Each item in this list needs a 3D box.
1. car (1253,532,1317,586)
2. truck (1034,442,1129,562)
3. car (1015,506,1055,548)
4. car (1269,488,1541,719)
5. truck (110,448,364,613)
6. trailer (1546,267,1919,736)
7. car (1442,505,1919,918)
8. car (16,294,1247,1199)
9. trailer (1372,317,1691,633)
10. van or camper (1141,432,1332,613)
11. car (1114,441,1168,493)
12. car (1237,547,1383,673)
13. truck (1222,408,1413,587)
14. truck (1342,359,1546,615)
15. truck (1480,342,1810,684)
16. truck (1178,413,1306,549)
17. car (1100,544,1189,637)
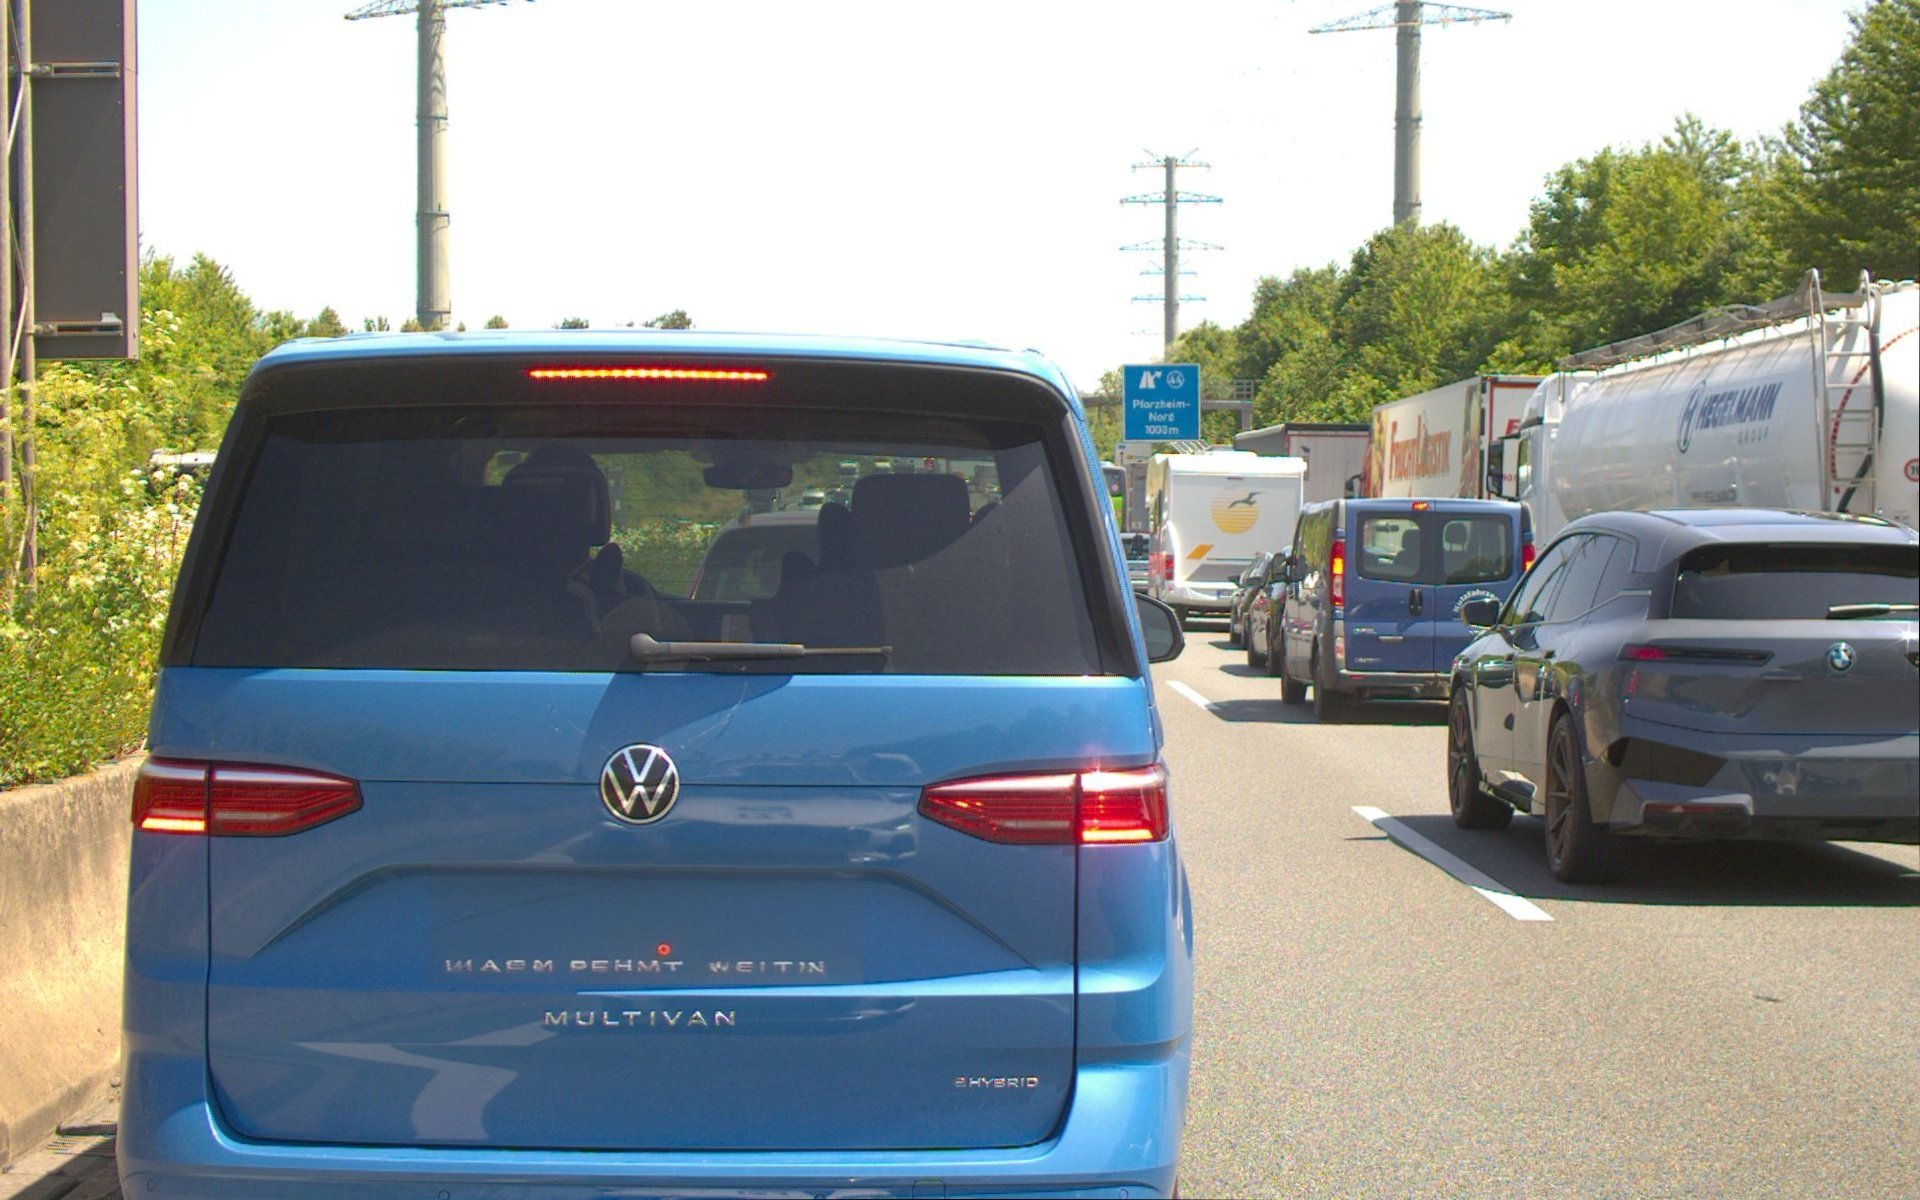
[{"bbox_3d":[12.252,-1.541,129.734,1.993,2.007,4.000,0,1,-1],"label":"car"},{"bbox_3d":[3.953,-3.144,113.544,2.895,3.753,10.140,0,1,1],"label":"truck"},{"bbox_3d":[3.937,-3.816,180.538,1.993,2.118,4.000,0,1,-1],"label":"car"},{"bbox_3d":[3.963,0.020,31.260,1.923,1.919,4.235,-1,0,1],"label":"car"},{"bbox_3d":[-15.394,-1.475,74.205,2.765,3.277,11.819,0,1,1],"label":"truck"},{"bbox_3d":[8.196,-0.901,33.879,2.761,3.831,11.487,0,1,-1],"label":"trailer"},{"bbox_3d":[3.638,0.454,16.610,1.999,1.709,4.625,0,0,1],"label":"car"},{"bbox_3d":[-0.528,0.436,7.446,1.920,1.880,4.000,1,1,0],"label":"car"},{"bbox_3d":[8.824,-1.864,54.758,2.912,4.453,12.155,0,1,-1],"label":"trailer"},{"bbox_3d":[4.790,-1.325,60.732,2.957,3.011,7.102,0,1,1],"label":"van or camper"},{"bbox_3d":[7.411,-5.452,140.947,1.993,2.007,4.000,0,1,0],"label":"car"},{"bbox_3d":[4.148,0.110,41.171,1.360,1.415,3.884,-1,0,1],"label":"car"},{"bbox_3d":[8.146,-2.245,80.426,3.006,3.753,15.713,0,1,1],"label":"truck"},{"bbox_3d":[8.729,-2.011,62.513,2.912,4.453,5.143,0,1,-1],"label":"truck"},{"bbox_3d":[8.090,-1.016,41.274,2.793,3.823,5.572,0,1,-1],"label":"truck"},{"bbox_3d":[8.308,-3.426,102.781,2.895,3.753,13.345,0,1,1],"label":"truck"},{"bbox_3d":[4.092,-0.215,76.818,1.836,1.991,4.000,-1,0,1],"label":"car"}]
